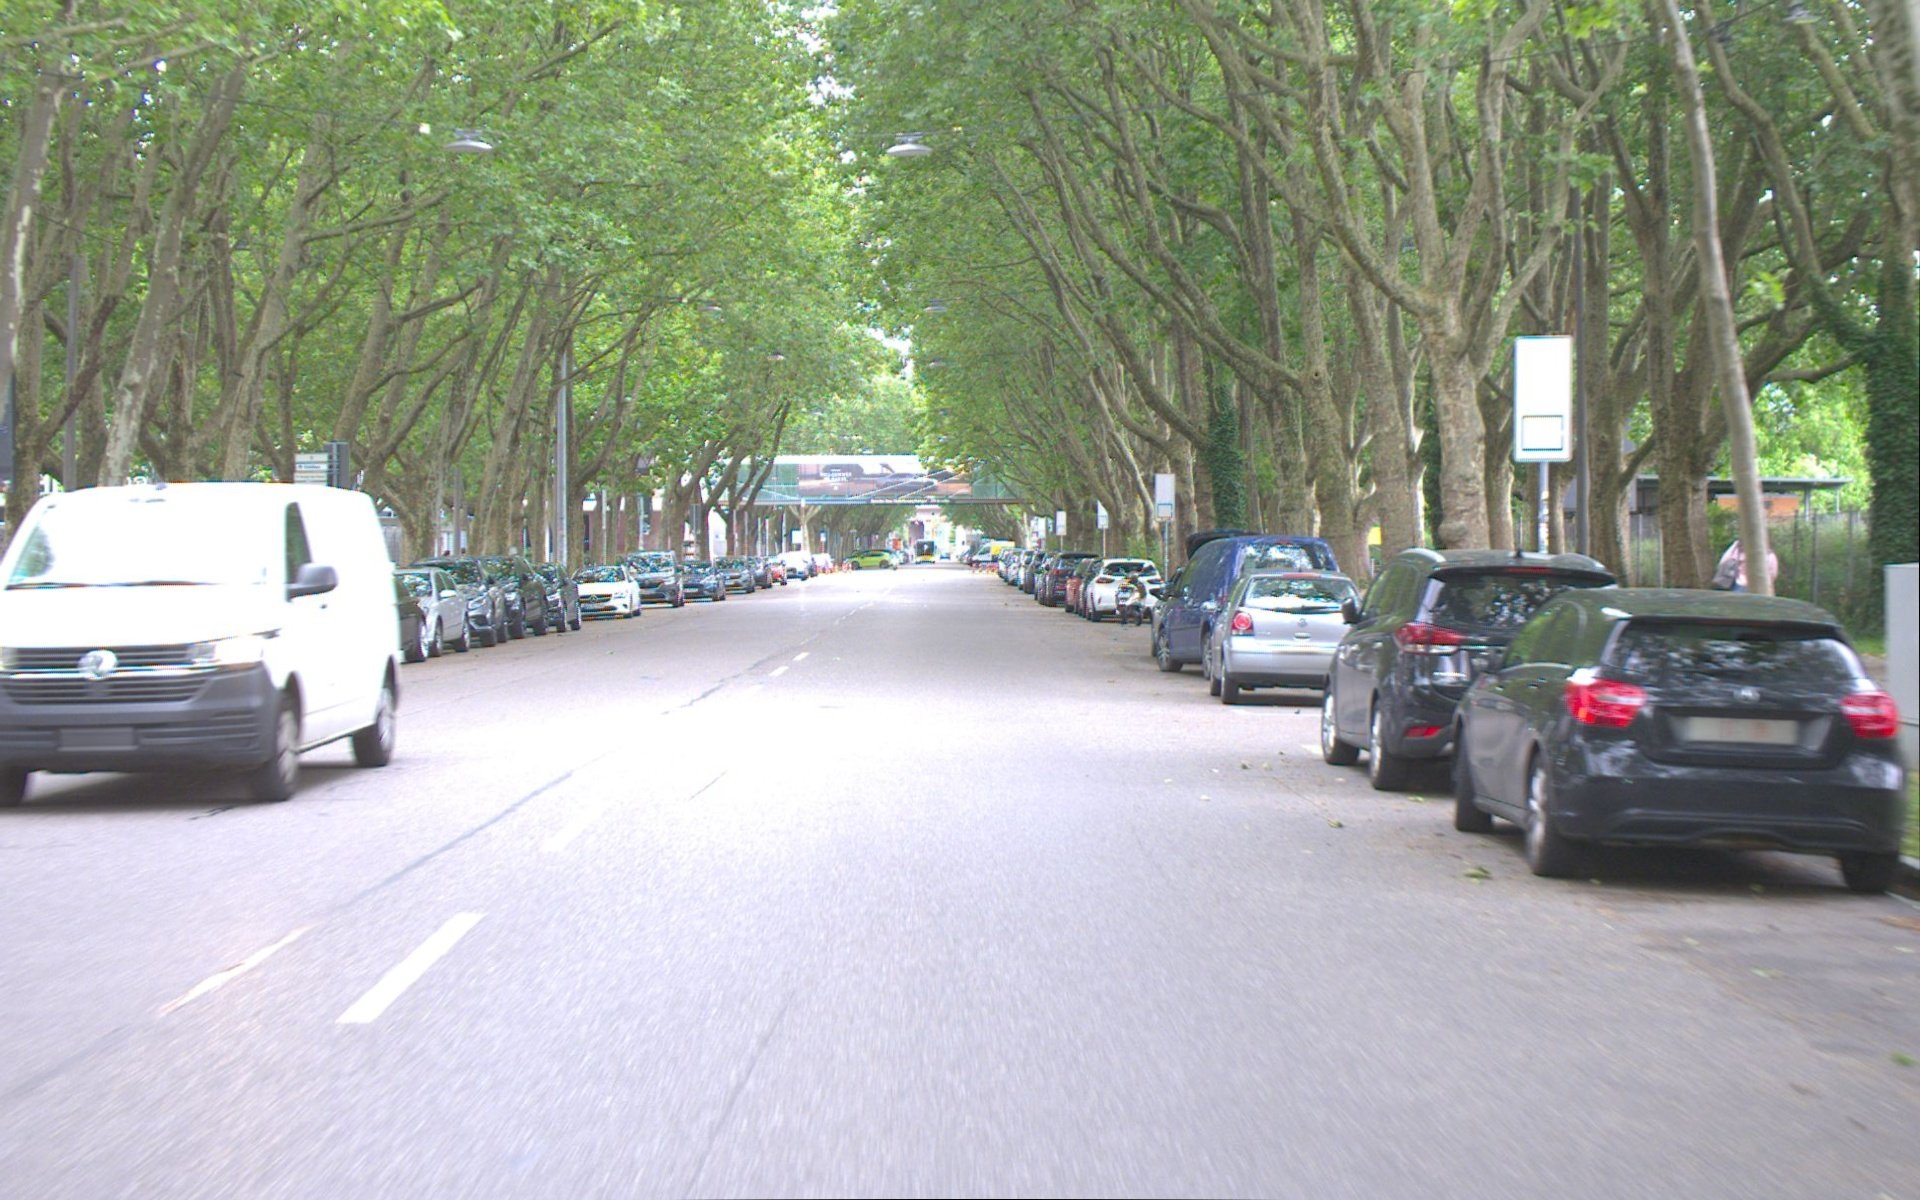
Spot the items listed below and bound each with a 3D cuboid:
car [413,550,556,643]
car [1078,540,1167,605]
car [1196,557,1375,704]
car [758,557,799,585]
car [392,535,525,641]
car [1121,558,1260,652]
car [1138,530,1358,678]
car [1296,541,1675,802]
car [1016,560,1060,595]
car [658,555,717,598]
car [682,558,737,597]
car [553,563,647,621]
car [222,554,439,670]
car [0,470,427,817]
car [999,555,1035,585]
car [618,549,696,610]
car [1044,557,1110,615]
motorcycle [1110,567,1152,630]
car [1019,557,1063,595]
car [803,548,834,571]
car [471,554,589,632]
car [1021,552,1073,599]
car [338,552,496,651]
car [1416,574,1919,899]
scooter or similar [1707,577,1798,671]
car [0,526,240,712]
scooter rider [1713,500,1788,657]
[{"bbox_3d":[-9.259,-0.104,67.258,1.937,1.637,4.928,-3,1,1],"label":"car"},{"bbox_3d":[3.721,-0.640,79.116,1.735,1.433,4.123,0,1,-2],"label":"car"},{"bbox_3d":[3.530,0.291,37.815,1.619,1.456,3.946,2,1,1],"label":"car"},{"bbox_3d":[-10.304,-1.637,195.319,2.073,1.557,4.756,0,1,0],"label":"car"},{"bbox_3d":[-8.922,-0.236,61.475,1.869,1.712,4.649,-3,1,-3],"label":"car"},{"bbox_3d":[3.826,0.051,57.843,1.993,1.473,4.371,1,1,0],"label":"car"},{"bbox_3d":[3.714,0.013,45.135,1.841,1.777,4.448,2,1,-9],"label":"car"},{"bbox_3d":[3.563,0.418,24.101,1.829,1.597,4.467,2,1,-1],"label":"car"},{"bbox_3d":[3.248,-0.952,143.530,1.707,1.422,3.889,1,1,0],"label":"car"},{"bbox_3d":[-9.640,-0.849,121.863,1.724,1.481,4.574,0,1,0],"label":"car"},{"bbox_3d":[-10.174,-0.928,139.732,1.878,1.521,4.151,-1,1,0],"label":"car"},{"bbox_3d":[-9.442,-0.233,90.503,1.904,1.398,4.751,-3,1,0],"label":"car"},{"bbox_3d":[-9.127,0.131,50.297,2.084,1.524,5.145,-2,1,1],"label":"car"},{"bbox_3d":[-4.937,0.201,22.336,2.059,1.955,5.466,-1,1,0],"label":"car"},{"bbox_3d":[2.985,-1.582,180.598,1.802,1.550,4.000,0,1,-1],"label":"car"},{"bbox_3d":[-9.118,-0.623,103.679,1.949,1.744,4.638,-2,0,-1],"label":"car"},{"bbox_3d":[3.409,-0.425,101.049,1.755,1.614,4.439,2,1,0],"label":"car"},{"bbox_3d":[3.680,-0.038,73.865,0.712,1.327,1.992,0,1,8],"label":"motorcycle"},{"bbox_3d":[3.684,-1.098,157.389,1.903,1.733,4.506,0,0,0],"label":"car"},{"bbox_3d":[-10.169,-2.891,246.757,1.993,1.596,4.001,0,1,-5],"label":"car"},{"bbox_3d":[-9.063,-0.172,72.813,1.833,1.489,4.442,-3,1,0],"label":"car"},{"bbox_3d":[3.282,-0.940,130.805,1.707,1.692,4.631,2,1,-2],"label":"car"},{"bbox_3d":[-8.837,-0.010,56.242,1.833,1.451,4.230,-3,1,0],"label":"car"},{"bbox_3d":[3.614,0.622,18.221,1.776,1.413,4.287,2,1,0],"label":"car"},{"bbox_3d":[9.213,0.266,40.007,0.680,1.034,1.467,-3,1,0],"label":"scooter or similar"},{"bbox_3d":[-9.155,0.179,36.756,1.895,1.789,4.613,-3,0,-1],"label":"car"},{"bbox_3d":[9.194,-0.252,39.977,0.676,1.794,0.587,-2,1,0],"label":"scooter rider"}]
